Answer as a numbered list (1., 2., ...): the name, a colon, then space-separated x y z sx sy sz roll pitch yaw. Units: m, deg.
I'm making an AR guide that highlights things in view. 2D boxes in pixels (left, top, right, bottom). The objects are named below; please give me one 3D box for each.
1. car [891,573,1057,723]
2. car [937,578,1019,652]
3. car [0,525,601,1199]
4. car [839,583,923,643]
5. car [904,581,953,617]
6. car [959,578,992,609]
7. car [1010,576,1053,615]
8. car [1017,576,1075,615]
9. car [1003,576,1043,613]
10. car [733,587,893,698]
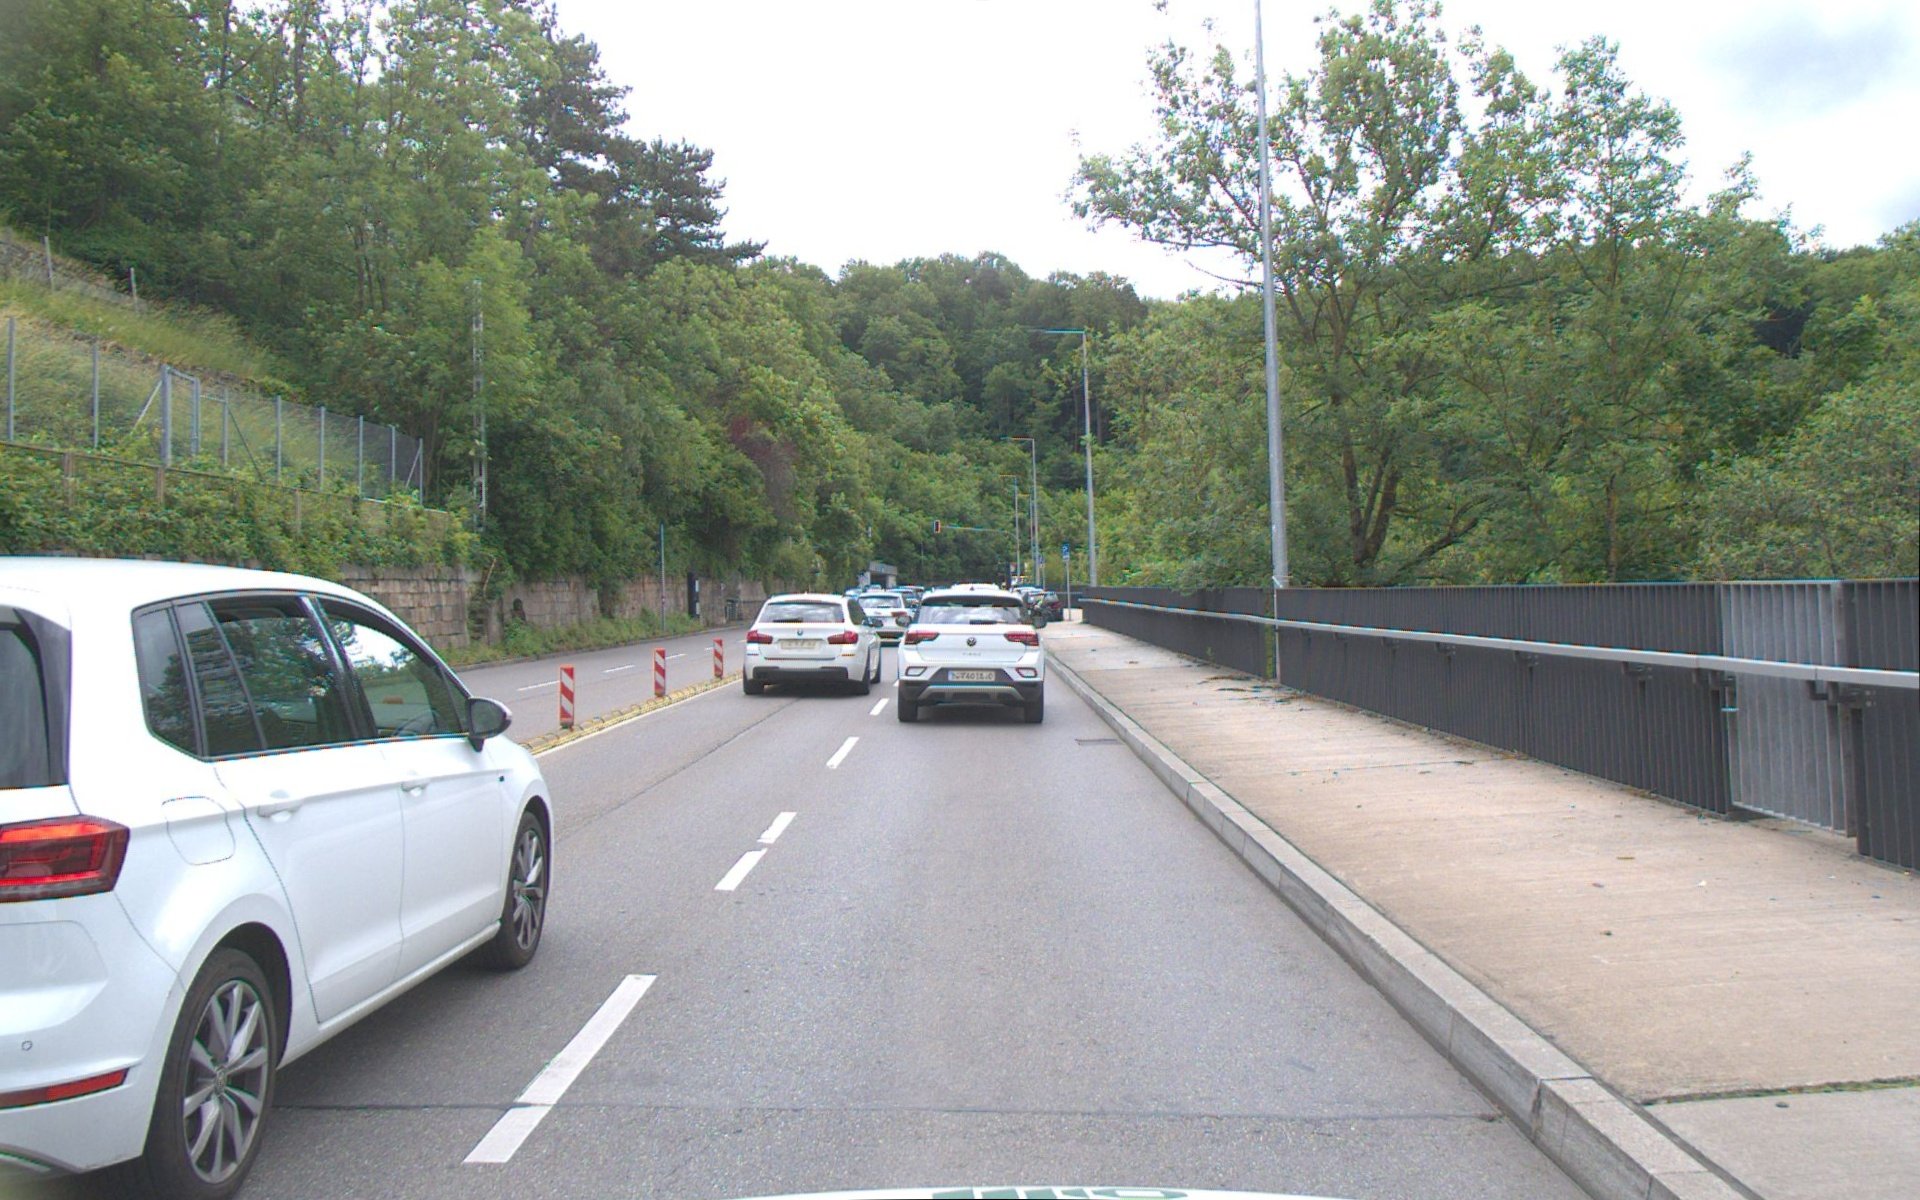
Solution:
1. car: 0.269 0.525 20.787 1.789 1.633 4.002 2 1 4
2. car: 0.493 0.333 41.633 1.952 1.748 4.115 0 1 2
3. car: -2.526 0.666 5.260 1.783 1.608 4.356 0 0 0
4. car: -2.167 0.321 46.582 1.952 1.529 4.669 1 1 2
5. car: -1.425 -0.073 76.674 1.952 1.529 4.669 -1 1 2
6. car: 0.989 -0.391 107.697 1.953 1.892 3.999 2 0 -1
7. car: 3.405 -0.248 79.803 1.952 1.748 4.115 0 2 1
8. car: 3.450 -0.193 67.311 1.779 1.534 3.995 0 0 -6
9. car: 3.236 -0.292 85.204 1.952 1.748 4.115 0 2 1
10. car: -2.145 0.582 25.402 1.790 1.485 4.488 -2 0 3
